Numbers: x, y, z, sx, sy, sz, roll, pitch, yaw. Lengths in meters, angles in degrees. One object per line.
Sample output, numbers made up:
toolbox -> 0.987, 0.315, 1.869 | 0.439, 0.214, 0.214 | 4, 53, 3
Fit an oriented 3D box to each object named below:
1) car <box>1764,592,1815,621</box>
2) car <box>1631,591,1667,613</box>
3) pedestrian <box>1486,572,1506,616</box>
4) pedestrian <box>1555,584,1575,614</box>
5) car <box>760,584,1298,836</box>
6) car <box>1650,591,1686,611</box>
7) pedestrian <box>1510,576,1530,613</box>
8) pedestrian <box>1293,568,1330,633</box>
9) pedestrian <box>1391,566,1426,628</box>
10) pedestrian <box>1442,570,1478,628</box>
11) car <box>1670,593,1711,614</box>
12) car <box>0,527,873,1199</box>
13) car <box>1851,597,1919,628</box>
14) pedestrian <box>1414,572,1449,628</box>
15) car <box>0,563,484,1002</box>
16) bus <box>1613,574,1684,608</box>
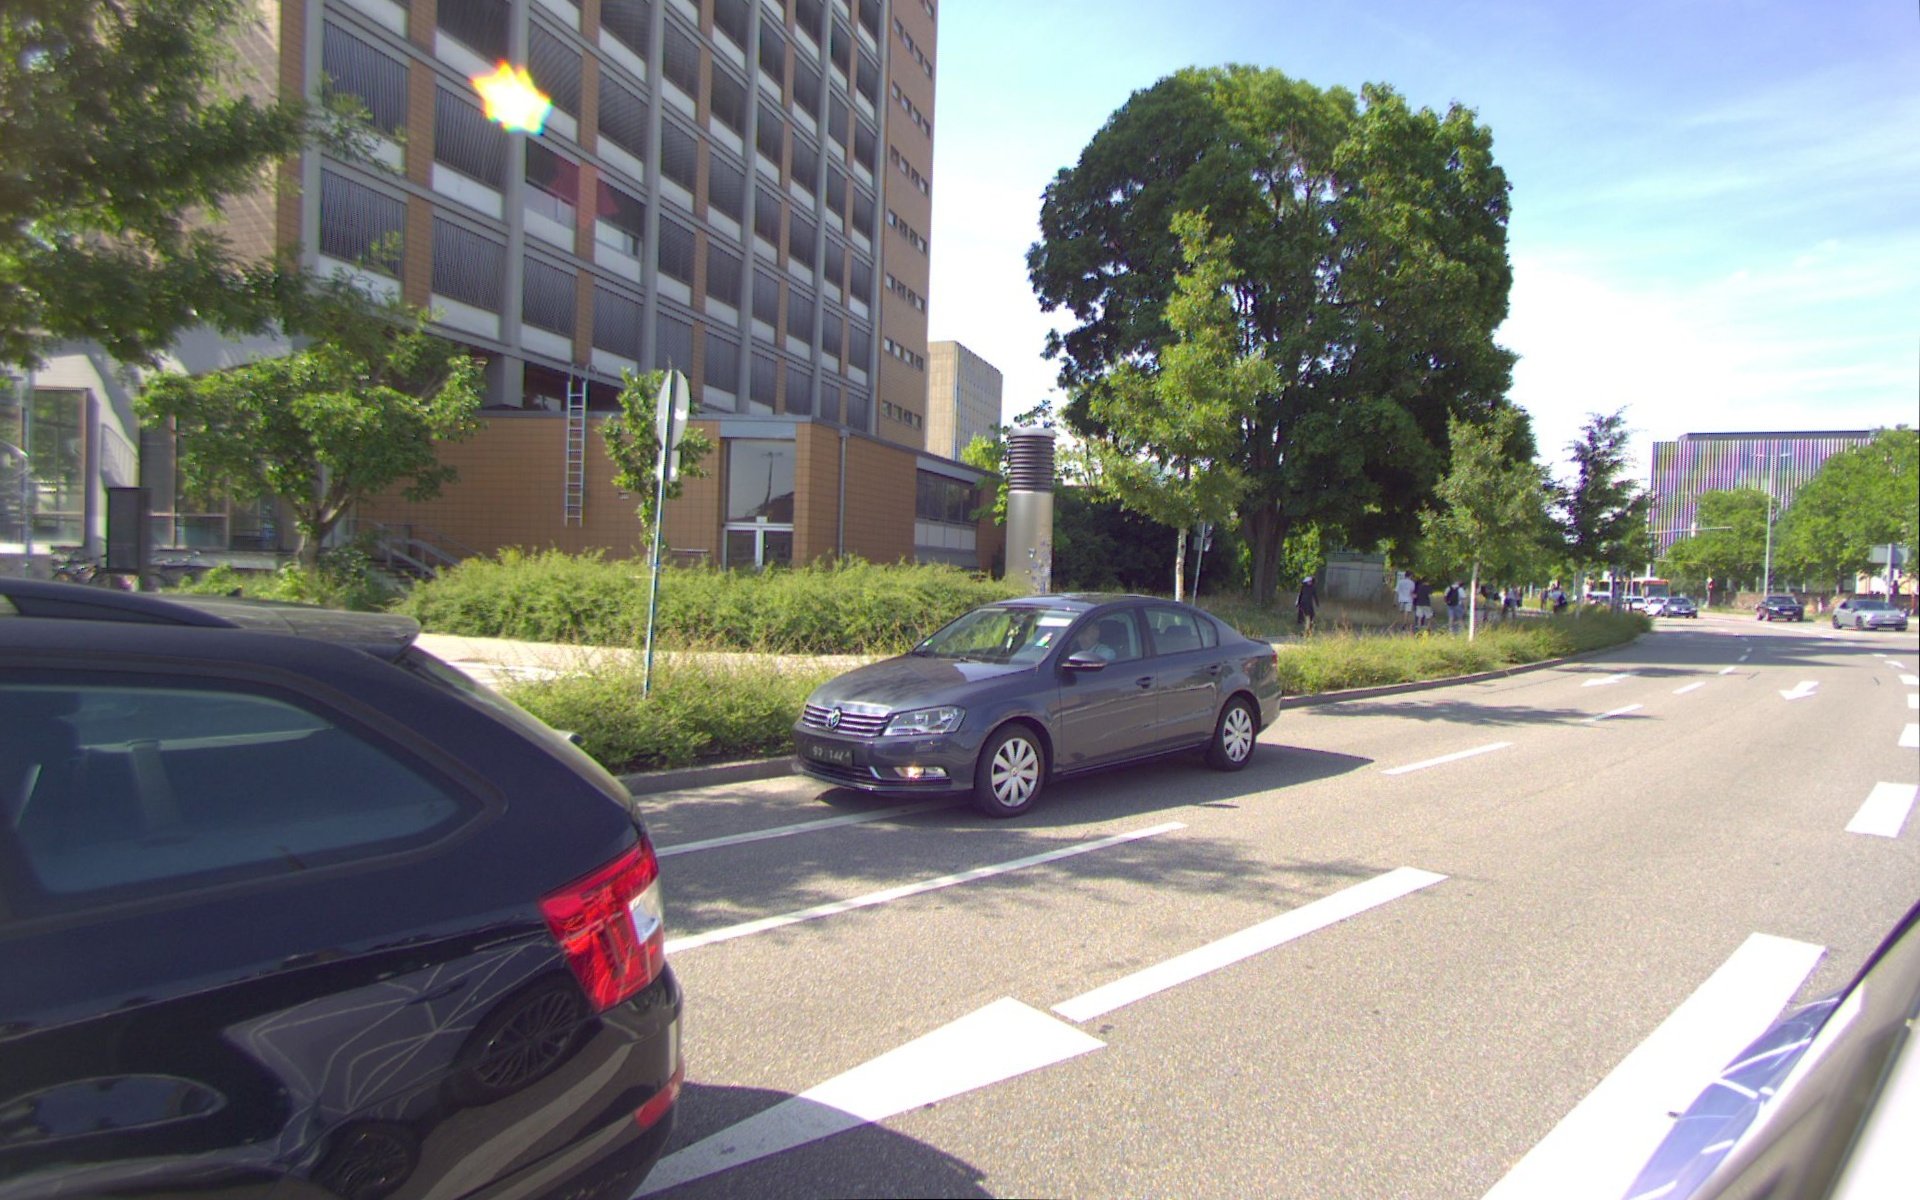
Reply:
car -> 52.873, 0.396, 64.601 | 1.743, 1.751, 4.073 | 0, 0, 28
car -> 48.000, 0.106, 70.576 | 1.667, 1.493, 3.723 | 0, 0, 28
pedestrian -> 22.339, -0.241, 42.155 | 0.638, 1.785, 0.470 | 3, 3, 29
pedestrian -> 24.941, -0.050, 41.719 | 0.639, 1.145, 0.743 | 4, 3, 33
car -> 0.782, 0.610, 8.010 | 4.451, 1.453, 1.633 | -1, 1, -42
car -> 53.939, 0.064, 77.180 | 1.635, 1.442, 4.083 | 0, 0, 26
pedestrian -> 23.102, -0.229, 41.754 | 0.638, 1.464, 0.564 | 3, 3, 29
pedestrian -> 9.476, -0.001, 27.264 | 0.719, 1.684, 0.592 | 0, 3, -41
pedestrian -> 13.764, -0.111, 31.054 | 0.719, 1.860, 0.643 | 0, 3, -41
pedestrian -> 15.055, -0.034, 30.470 | 0.739, 1.694, 0.643 | 0, 3, -41
car -> 51.699, 0.220, 71.707 | 1.635, 1.442, 4.083 | 0, 0, 26
car -> -2.455, 0.637, 1.081 | 4.698, 1.453, 1.633 | -1, 1, -42
car -> 46.114, 0.572, 50.240 | 1.816, 1.454, 4.060 | 0, 0, 27
pedestrian -> 14.223, -0.002, 30.545 | 0.719, 1.646, 0.643 | 0, 3, -41
car -> -4.220, 0.576, 3.552 | 4.319, 1.447, 1.704 | 1, 0, -40
bus -> 67.635, -0.953, 99.745 | 2.763, 3.076, 12.068 | 2, 1, 20
